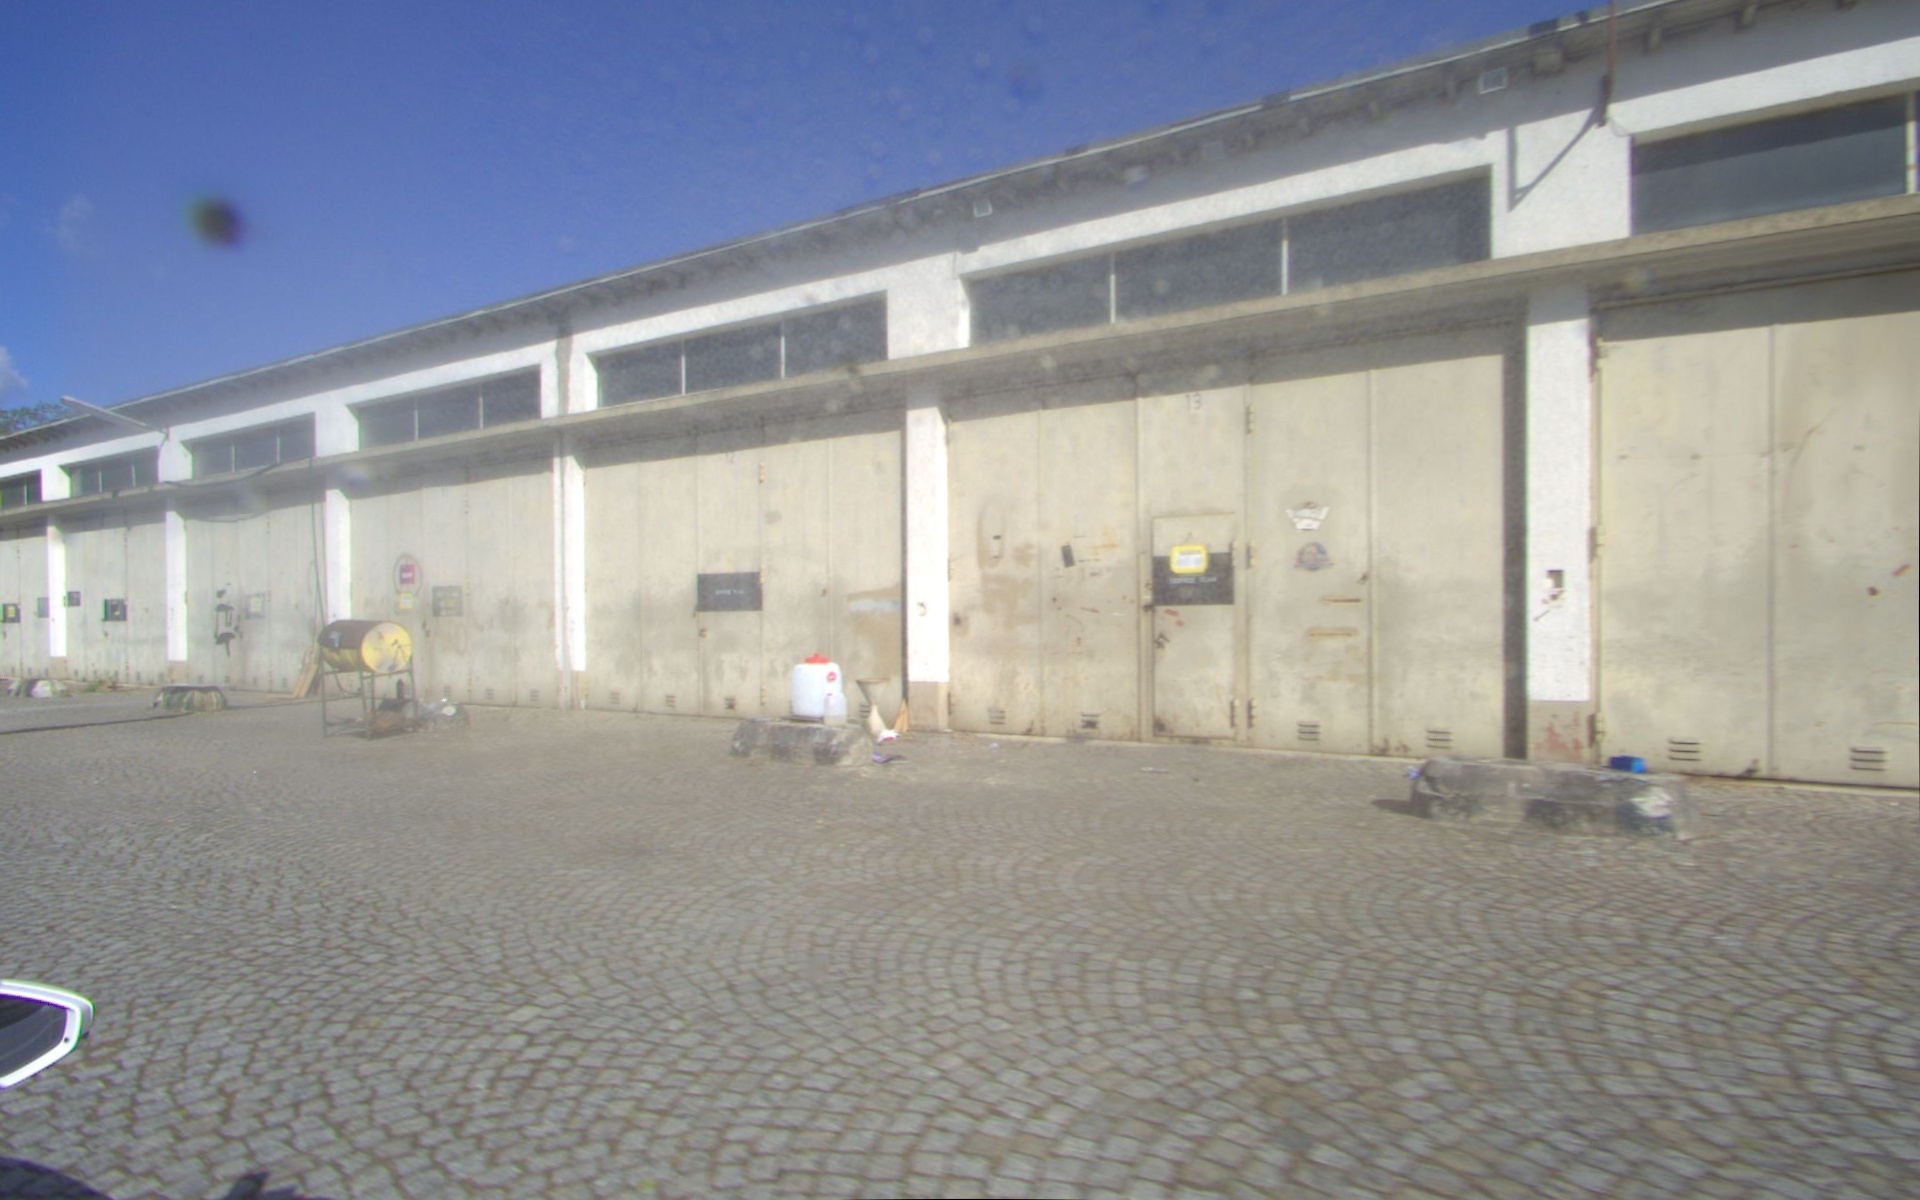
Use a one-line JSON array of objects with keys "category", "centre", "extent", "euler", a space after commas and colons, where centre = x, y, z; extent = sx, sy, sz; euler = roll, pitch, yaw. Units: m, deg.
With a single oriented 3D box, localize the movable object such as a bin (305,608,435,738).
[{"category": "movable object such as a bin", "centre": [-6.816, 0.811, 11.583], "extent": [1.085, 1.420, 0.874], "euler": [0, 0, 29]}]
